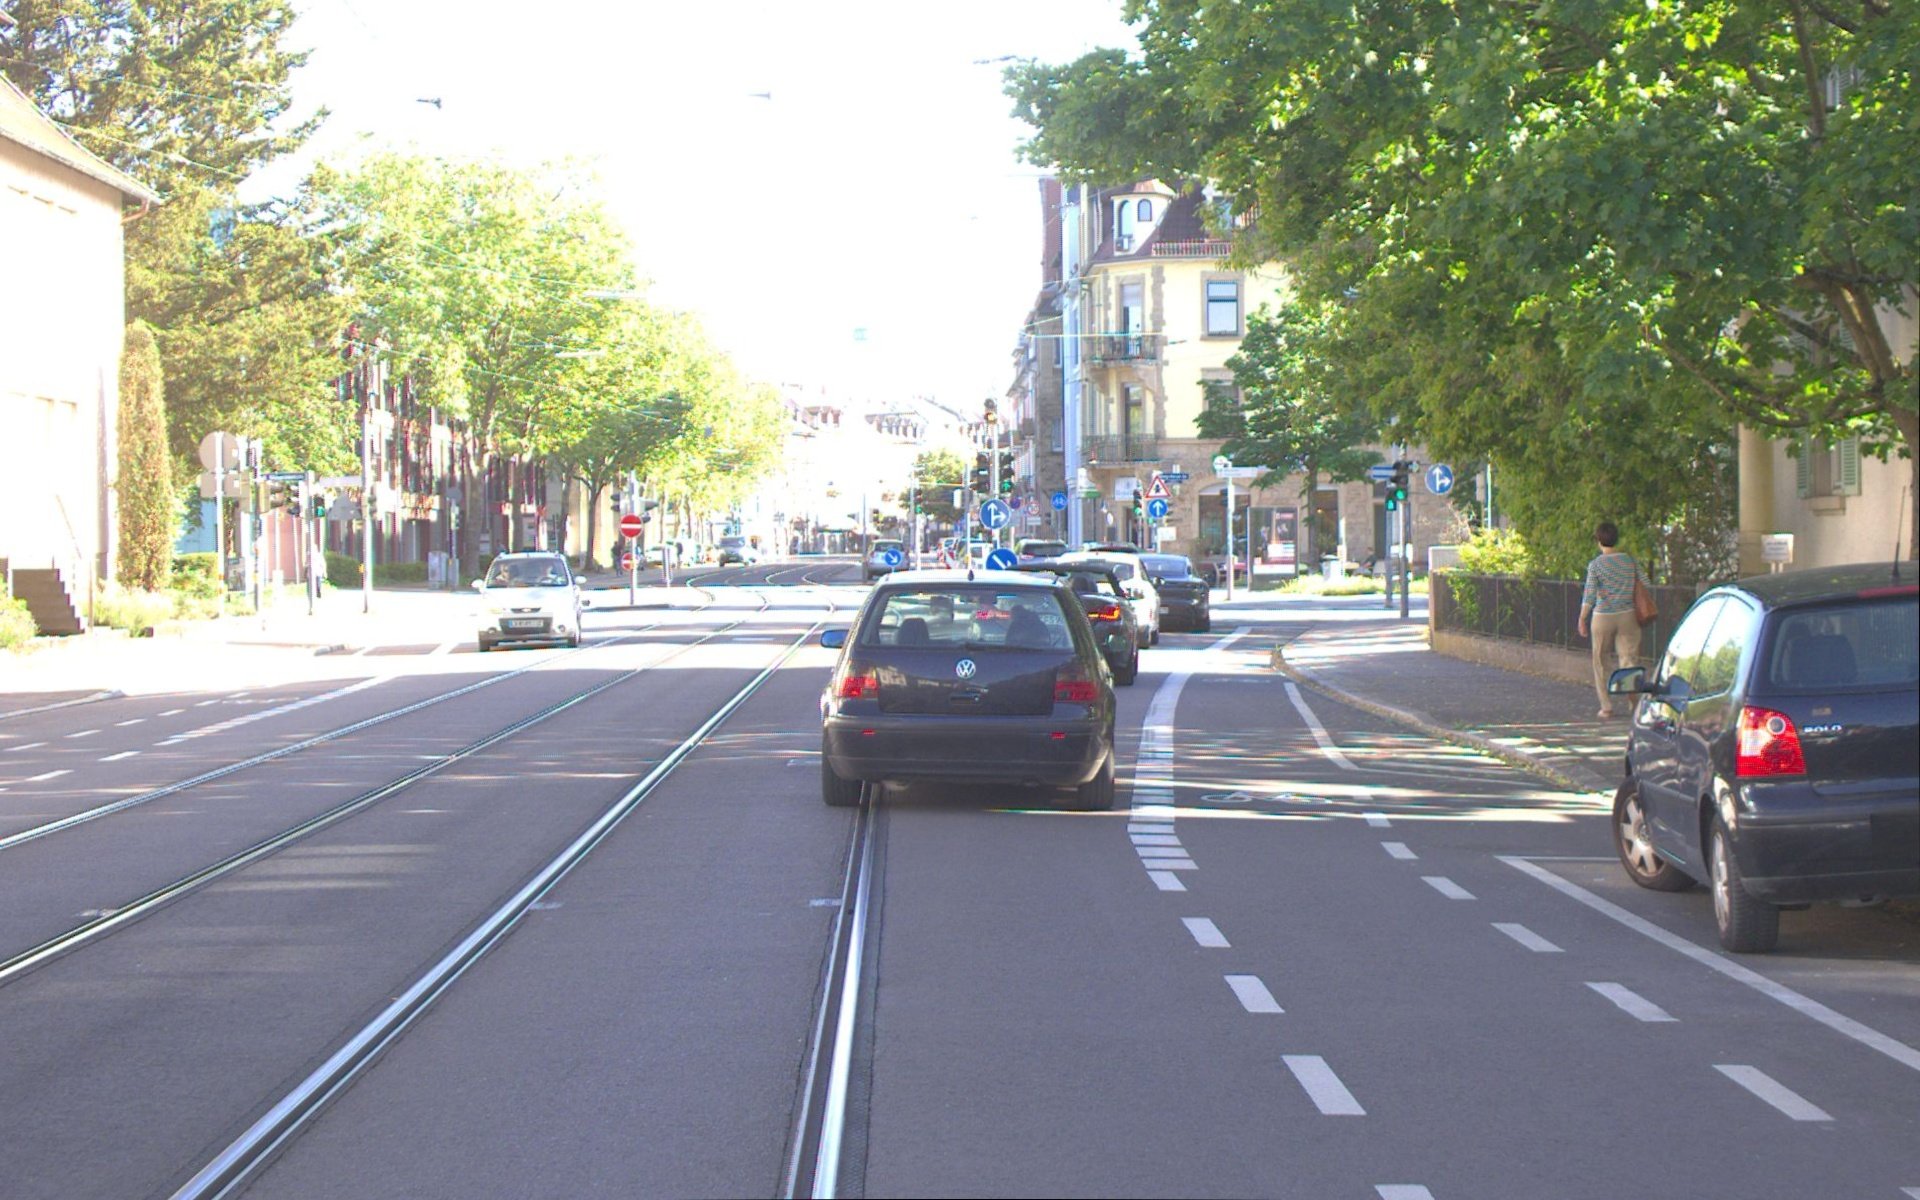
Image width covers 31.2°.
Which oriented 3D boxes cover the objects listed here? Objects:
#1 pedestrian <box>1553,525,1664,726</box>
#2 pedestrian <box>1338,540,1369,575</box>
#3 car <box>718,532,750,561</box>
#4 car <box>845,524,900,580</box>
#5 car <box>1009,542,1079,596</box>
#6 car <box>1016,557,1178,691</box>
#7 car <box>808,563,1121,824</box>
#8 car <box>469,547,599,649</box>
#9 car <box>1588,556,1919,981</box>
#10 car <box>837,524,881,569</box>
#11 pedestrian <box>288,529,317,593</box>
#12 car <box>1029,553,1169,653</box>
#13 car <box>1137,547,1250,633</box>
[{"bbox_3d":[5.582,0.208,29.619,0.717,1.682,0.870,-2,1,-2],"label":"pedestrian"},{"bbox_3d":[13.501,-1.445,117.932,0.979,1.183,0.743,0,1,-1],"label":"pedestrian"},{"bbox_3d":[-14.646,-3.465,222.601,1.971,1.809,4.297,-1,1,-5],"label":"car"},{"bbox_3d":[-3.072,-1.670,119.752,1.787,1.853,4.001,2,1,-2],"label":"car"},{"bbox_3d":[2.305,-0.876,94.943,1.681,1.448,3.379,-1,1,-2],"label":"car"},{"bbox_3d":[1.478,0.227,38.180,1.634,1.367,3.757,-1,1,0],"label":"car"},{"bbox_3d":[0.071,0.500,21.152,1.716,1.398,4.006,1,1,1],"label":"car"},{"bbox_3d":[-6.492,-0.054,52.678,1.575,1.472,3.441,-1,1,-1],"label":"car"},{"bbox_3d":[3.735,0.598,14.519,1.666,1.558,3.770,-1,1,3],"label":"car"},{"bbox_3d":[-4.289,-2.287,145.271,1.787,1.853,4.001,-1,1,-2],"label":"car"},{"bbox_3d":[-17.630,-1.056,92.178,0.609,1.684,0.734,2,1,-19],"label":"pedestrian"},{"bbox_3d":[2.156,0.019,52.400,1.740,1.436,3.808,0,1,8],"label":"car"},{"bbox_3d":[4.135,-0.194,61.296,1.569,1.306,3.648,-1,3,-3],"label":"car"}]
